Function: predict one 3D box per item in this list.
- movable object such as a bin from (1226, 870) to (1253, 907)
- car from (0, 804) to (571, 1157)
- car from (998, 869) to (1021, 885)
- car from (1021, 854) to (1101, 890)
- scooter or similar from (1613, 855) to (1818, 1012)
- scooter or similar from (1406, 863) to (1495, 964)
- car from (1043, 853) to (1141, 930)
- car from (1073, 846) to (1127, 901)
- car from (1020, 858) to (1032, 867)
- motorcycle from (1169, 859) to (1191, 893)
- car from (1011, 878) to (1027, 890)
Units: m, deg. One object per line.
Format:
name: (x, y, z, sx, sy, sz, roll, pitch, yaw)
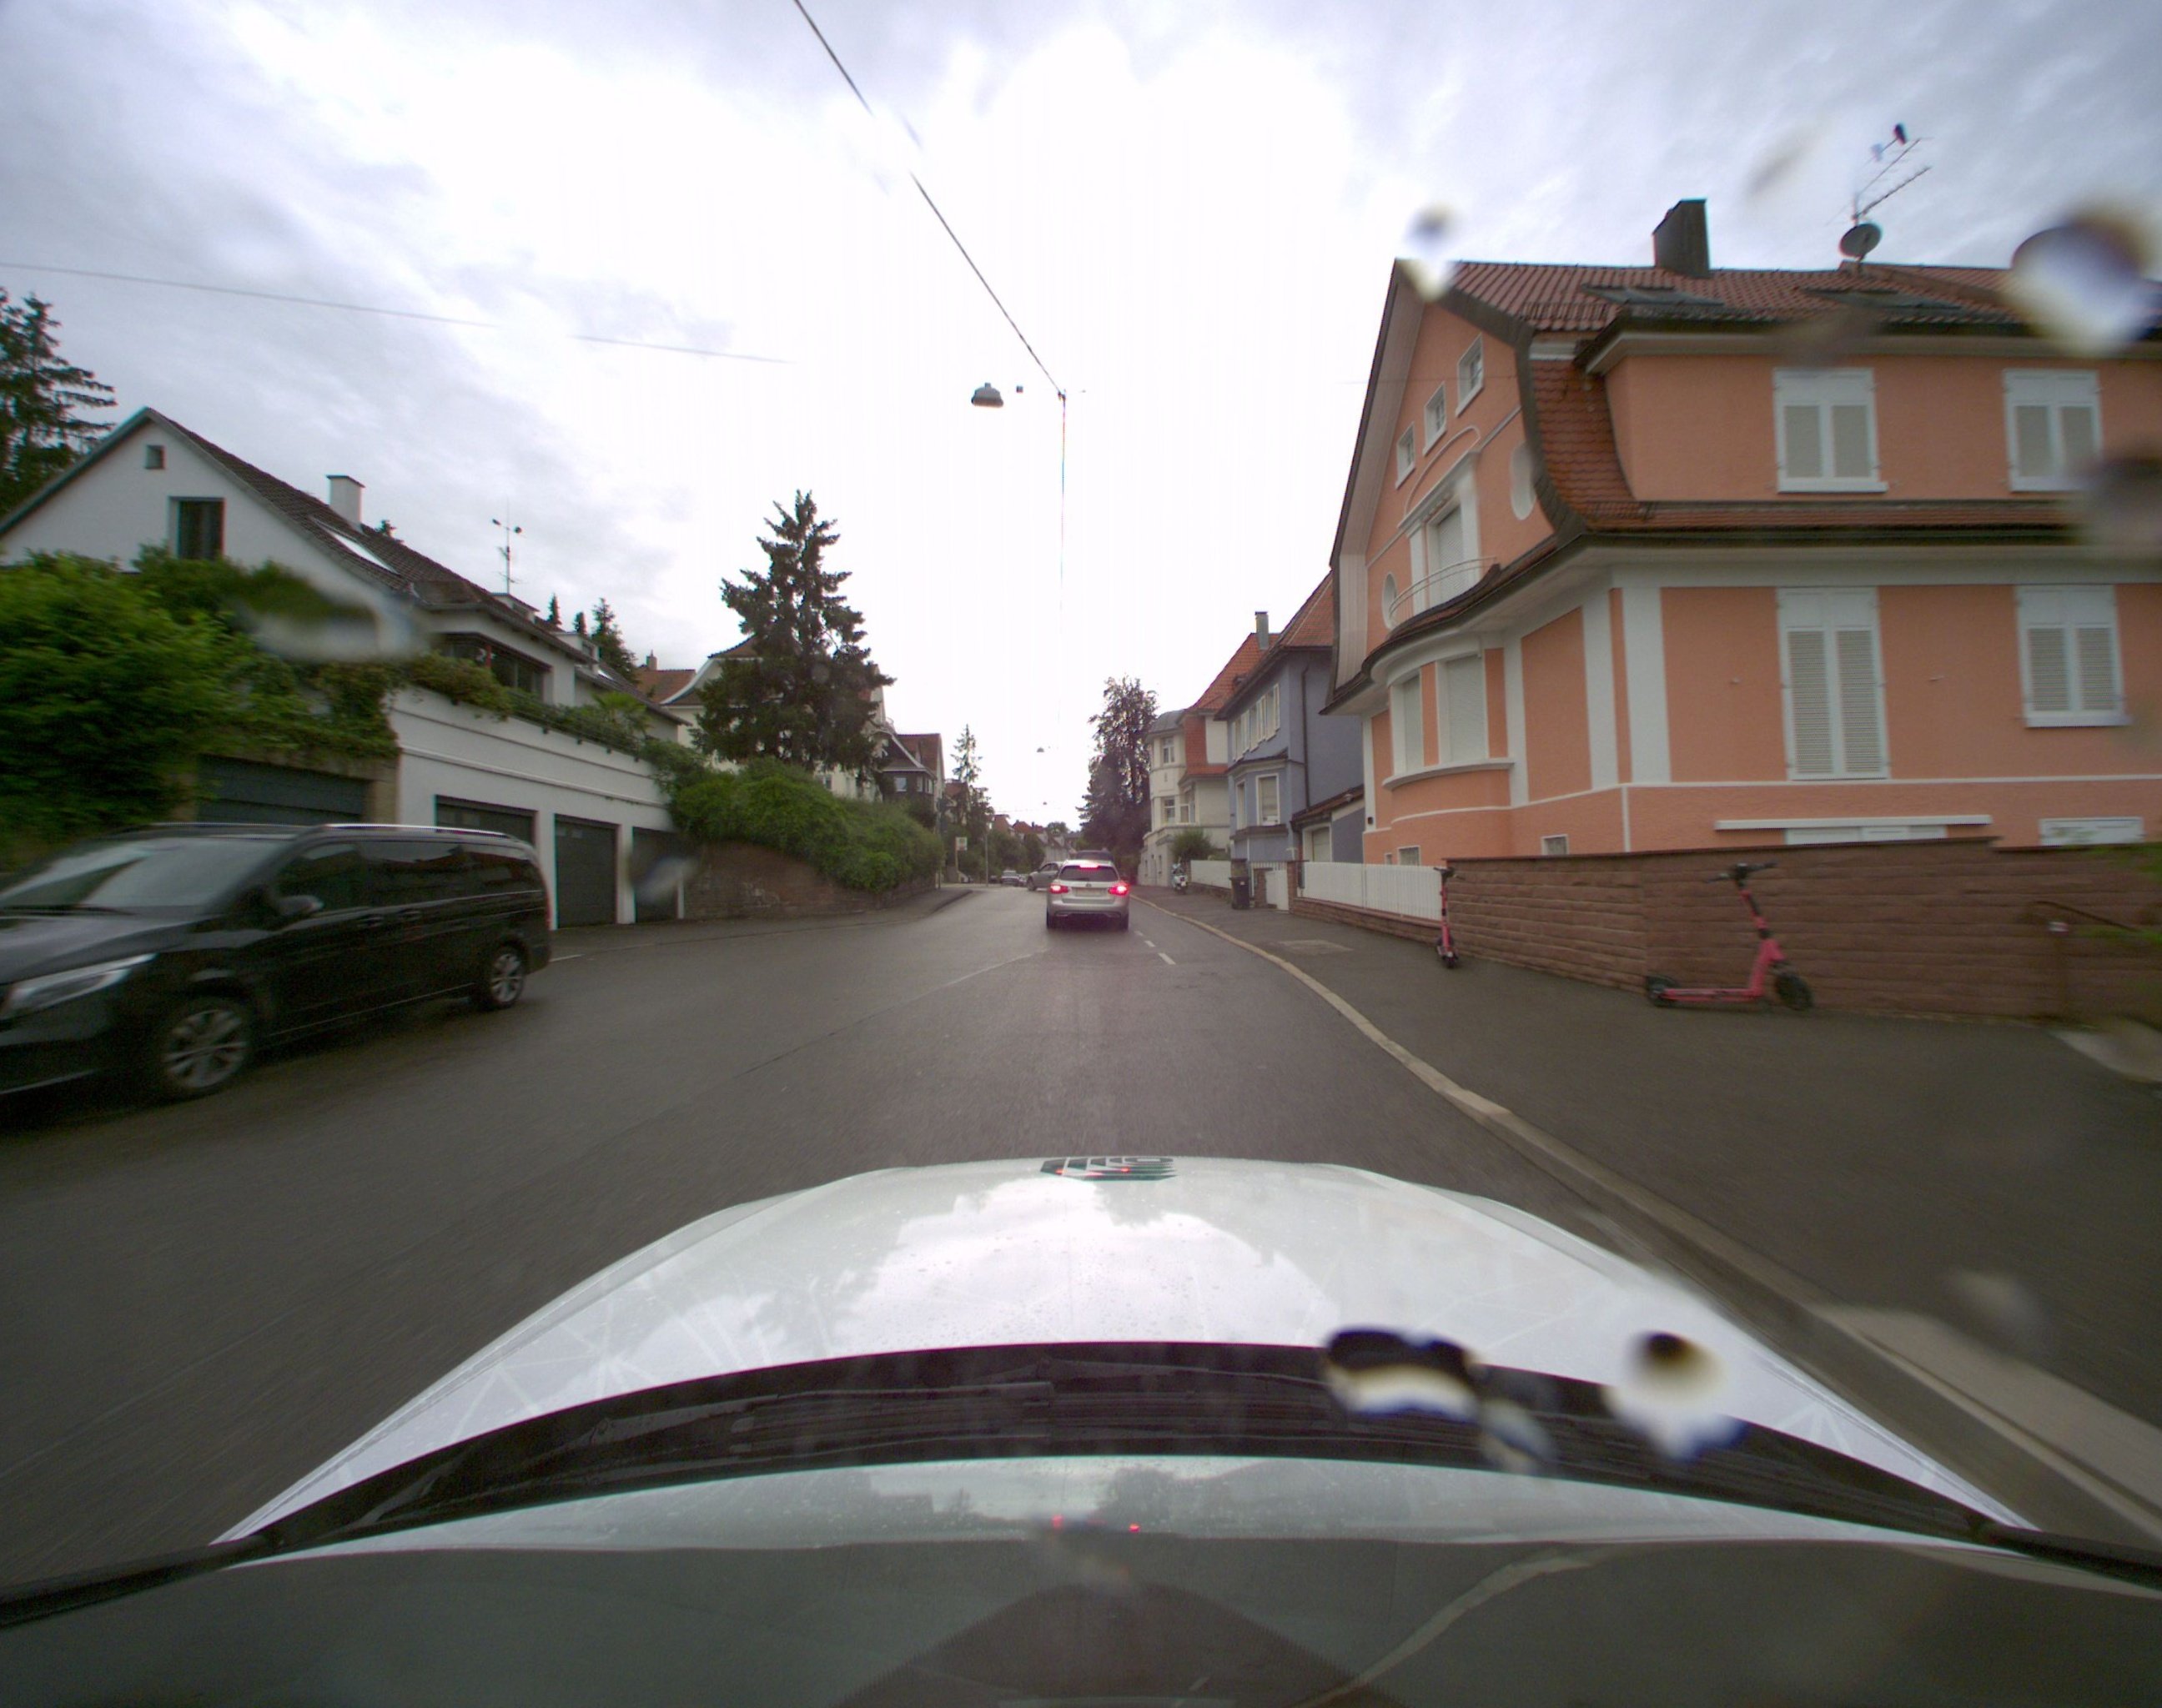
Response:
movable object such as a bin: (4.394, 0.947, 22.539, 0.547, 0.936, 0.633, -4, 0, -1)
car: (-6.980, 0.686, 6.944, 2.126, 1.860, 5.584, 0, 0, -5)
car: (-7.079, 2.236, 80.770, 2.112, 1.471, 4.013, -1, 0, -2)
car: (-0.995, 0.788, 37.593, 2.005, 1.539, 4.293, 0, 0, -28)
scooter or similar: (5.402, 0.664, 7.034, 1.245, 1.224, 0.699, -4, -2, 31)
scooter or similar: (4.849, 0.747, 10.759, 0.689, 1.224, 1.302, -1, 0, 7)
car: (0.223, 0.761, 18.646, 1.976, 1.554, 4.297, 0, 0, 0)
car: (0.723, 0.685, 30.916, 1.817, 1.882, 4.096, -2, 0, 1)
car: (-8.571, 1.330, 127.081, 1.632, 1.314, 3.472, -1, 0, -2)
motorcycle: (3.916, 0.835, 32.244, 0.579, 1.261, 2.332, -3, 0, 2)
car: (-7.258, 3.479, 95.058, 1.753, 1.314, 3.680, 0, 0, -2)
